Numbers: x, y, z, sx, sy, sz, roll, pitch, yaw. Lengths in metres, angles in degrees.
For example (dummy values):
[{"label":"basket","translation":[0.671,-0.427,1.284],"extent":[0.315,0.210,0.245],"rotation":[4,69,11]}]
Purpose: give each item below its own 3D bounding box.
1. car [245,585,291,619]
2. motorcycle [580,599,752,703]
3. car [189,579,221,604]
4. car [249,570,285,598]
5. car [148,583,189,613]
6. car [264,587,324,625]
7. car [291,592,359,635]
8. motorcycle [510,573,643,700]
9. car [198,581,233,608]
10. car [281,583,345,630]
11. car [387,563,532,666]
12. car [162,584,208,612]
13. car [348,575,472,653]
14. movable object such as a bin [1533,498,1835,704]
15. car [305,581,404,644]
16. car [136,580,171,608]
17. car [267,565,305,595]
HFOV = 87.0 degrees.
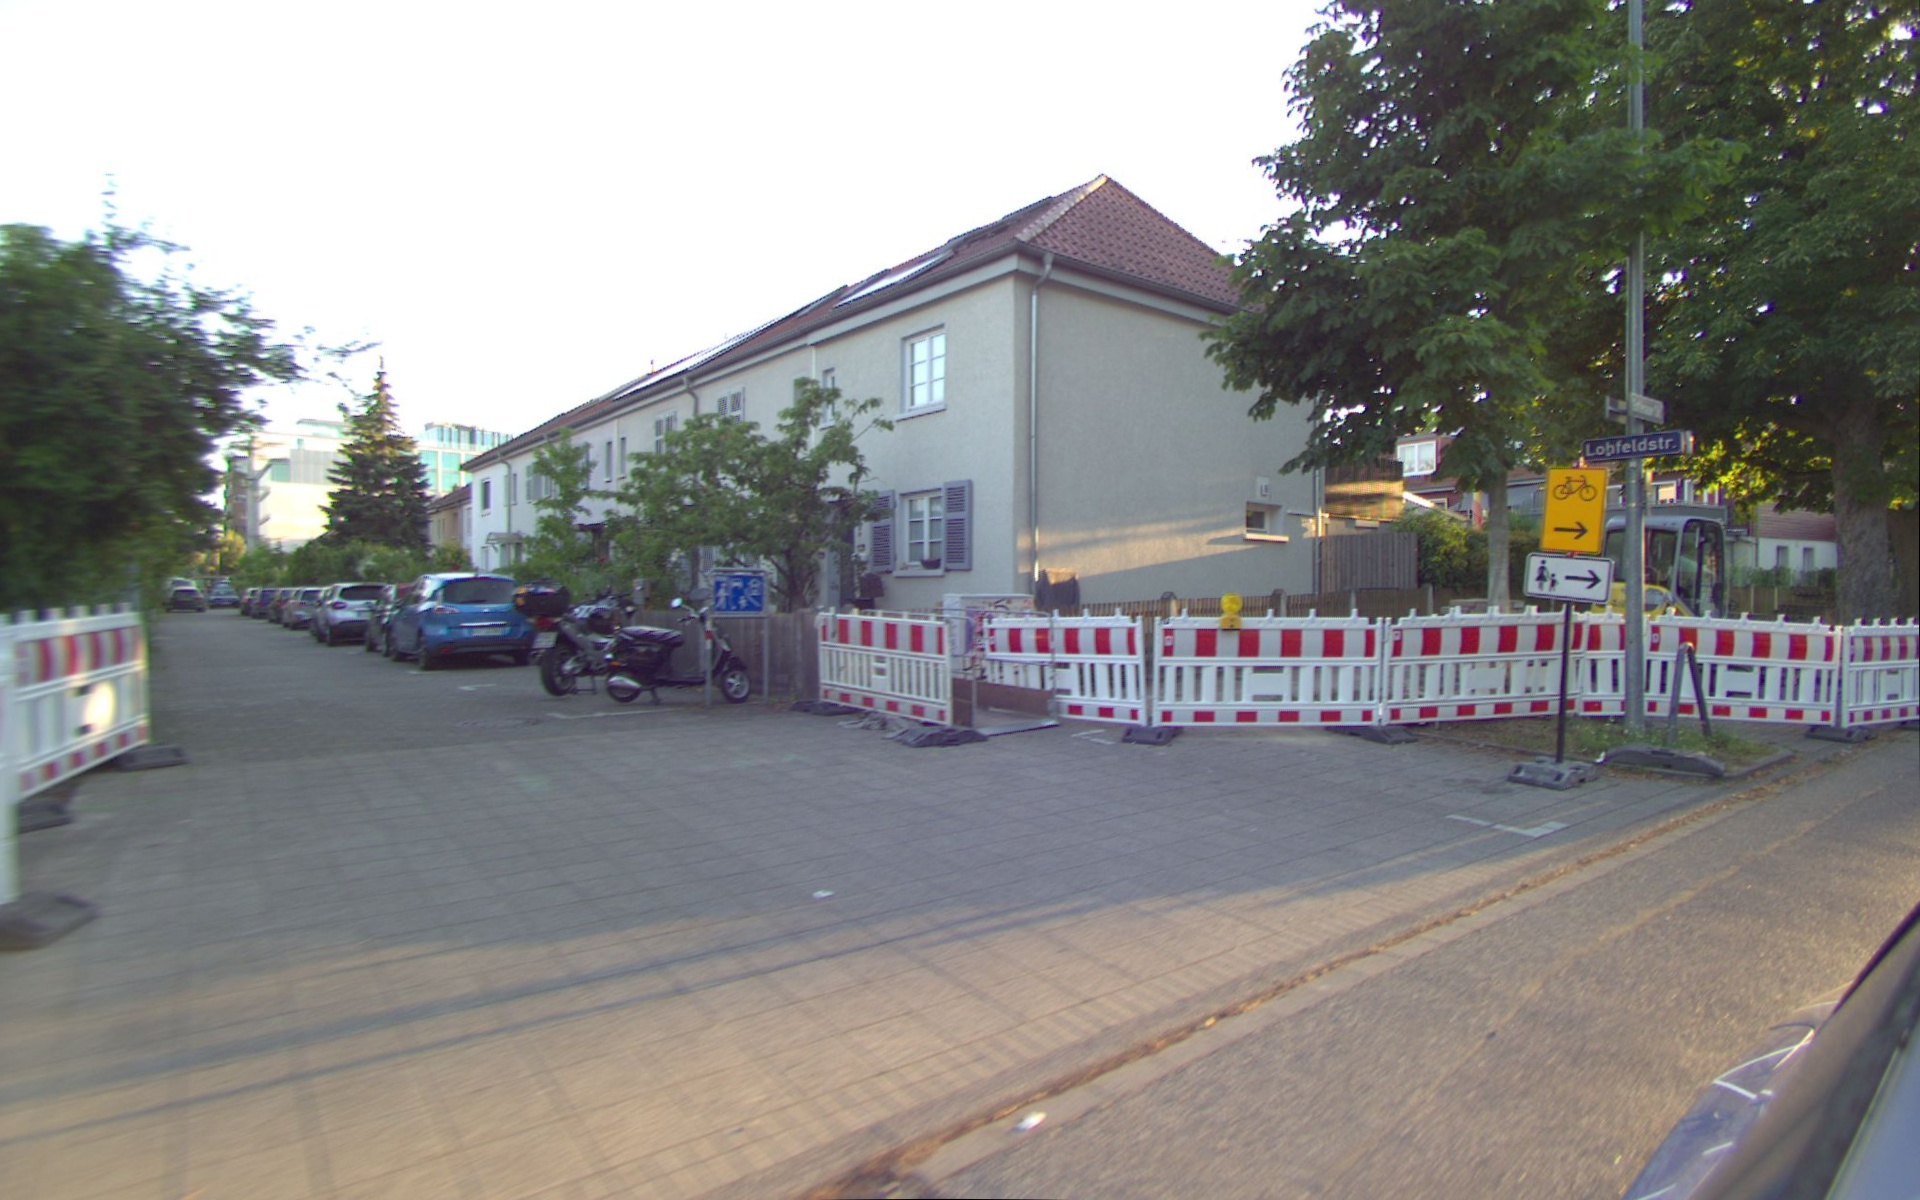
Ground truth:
[{"label":"car","translation":[-33.123,0.108,48.424],"extent":[1.531,1.562,3.649],"rotation":[0,0,-39]},{"label":"motorcycle","translation":[-3.285,0.553,11.435],"extent":[1.809,1.120,0.582],"rotation":[0,0,-9]},{"label":"car","translation":[-62.287,-0.675,83.422],"extent":[1.964,2.039,3.995],"rotation":[0,0,-39]},{"label":"car","translation":[-49.321,-1.084,71.989],"extent":[1.834,1.925,3.801],"rotation":[0,0,-39]},{"label":"car","translation":[-51.379,-0.129,65.643],"extent":[1.965,1.835,3.994],"rotation":[0,0,-40]},{"label":"car","translation":[-26.767,0.250,40.657],"extent":[1.668,1.455,3.597],"rotation":[0,0,-39]},{"label":"car","translation":[-19.845,0.399,31.586],"extent":[1.448,1.262,3.066],"rotation":[0,0,-39]},{"label":"motorcycle","translation":[-4.661,0.411,12.461],"extent":[0.588,1.434,2.075],"rotation":[0,0,9]},{"label":"car","translation":[-55.961,-0.395,76.060],"extent":[1.964,1.975,3.995],"rotation":[0,0,-39]},{"label":"car","translation":[-22.721,0.220,35.493],"extent":[1.519,1.572,3.272],"rotation":[0,0,-39]},{"label":"car","translation":[-9.144,0.237,18.342],"extent":[1.688,1.658,3.631],"rotation":[0,0,-38]},{"label":"car","translation":[-46.063,-0.109,60.124],"extent":[1.965,1.571,3.994],"rotation":[0,0,-40]},{"label":"car","translation":[-12.164,0.282,22.274],"extent":[1.771,1.572,3.639],"rotation":[0,0,-39]},{"label":"movable object such as a bin","translation":[10.613,-0.001,14.672],"extent":[5.110,2.433,2.630],"rotation":[0,0,-43]},{"label":"car","translation":[-15.578,0.297,25.963],"extent":[1.681,1.509,3.562],"rotation":[0,0,-39]},{"label":"car","translation":[-60.907,-0.420,76.380],"extent":[1.965,2.039,3.994],"rotation":[0,0,-40]},{"label":"car","translation":[-43.701,-1.266,65.595],"extent":[1.685,1.839,3.558],"rotation":[0,0,-39]}]
